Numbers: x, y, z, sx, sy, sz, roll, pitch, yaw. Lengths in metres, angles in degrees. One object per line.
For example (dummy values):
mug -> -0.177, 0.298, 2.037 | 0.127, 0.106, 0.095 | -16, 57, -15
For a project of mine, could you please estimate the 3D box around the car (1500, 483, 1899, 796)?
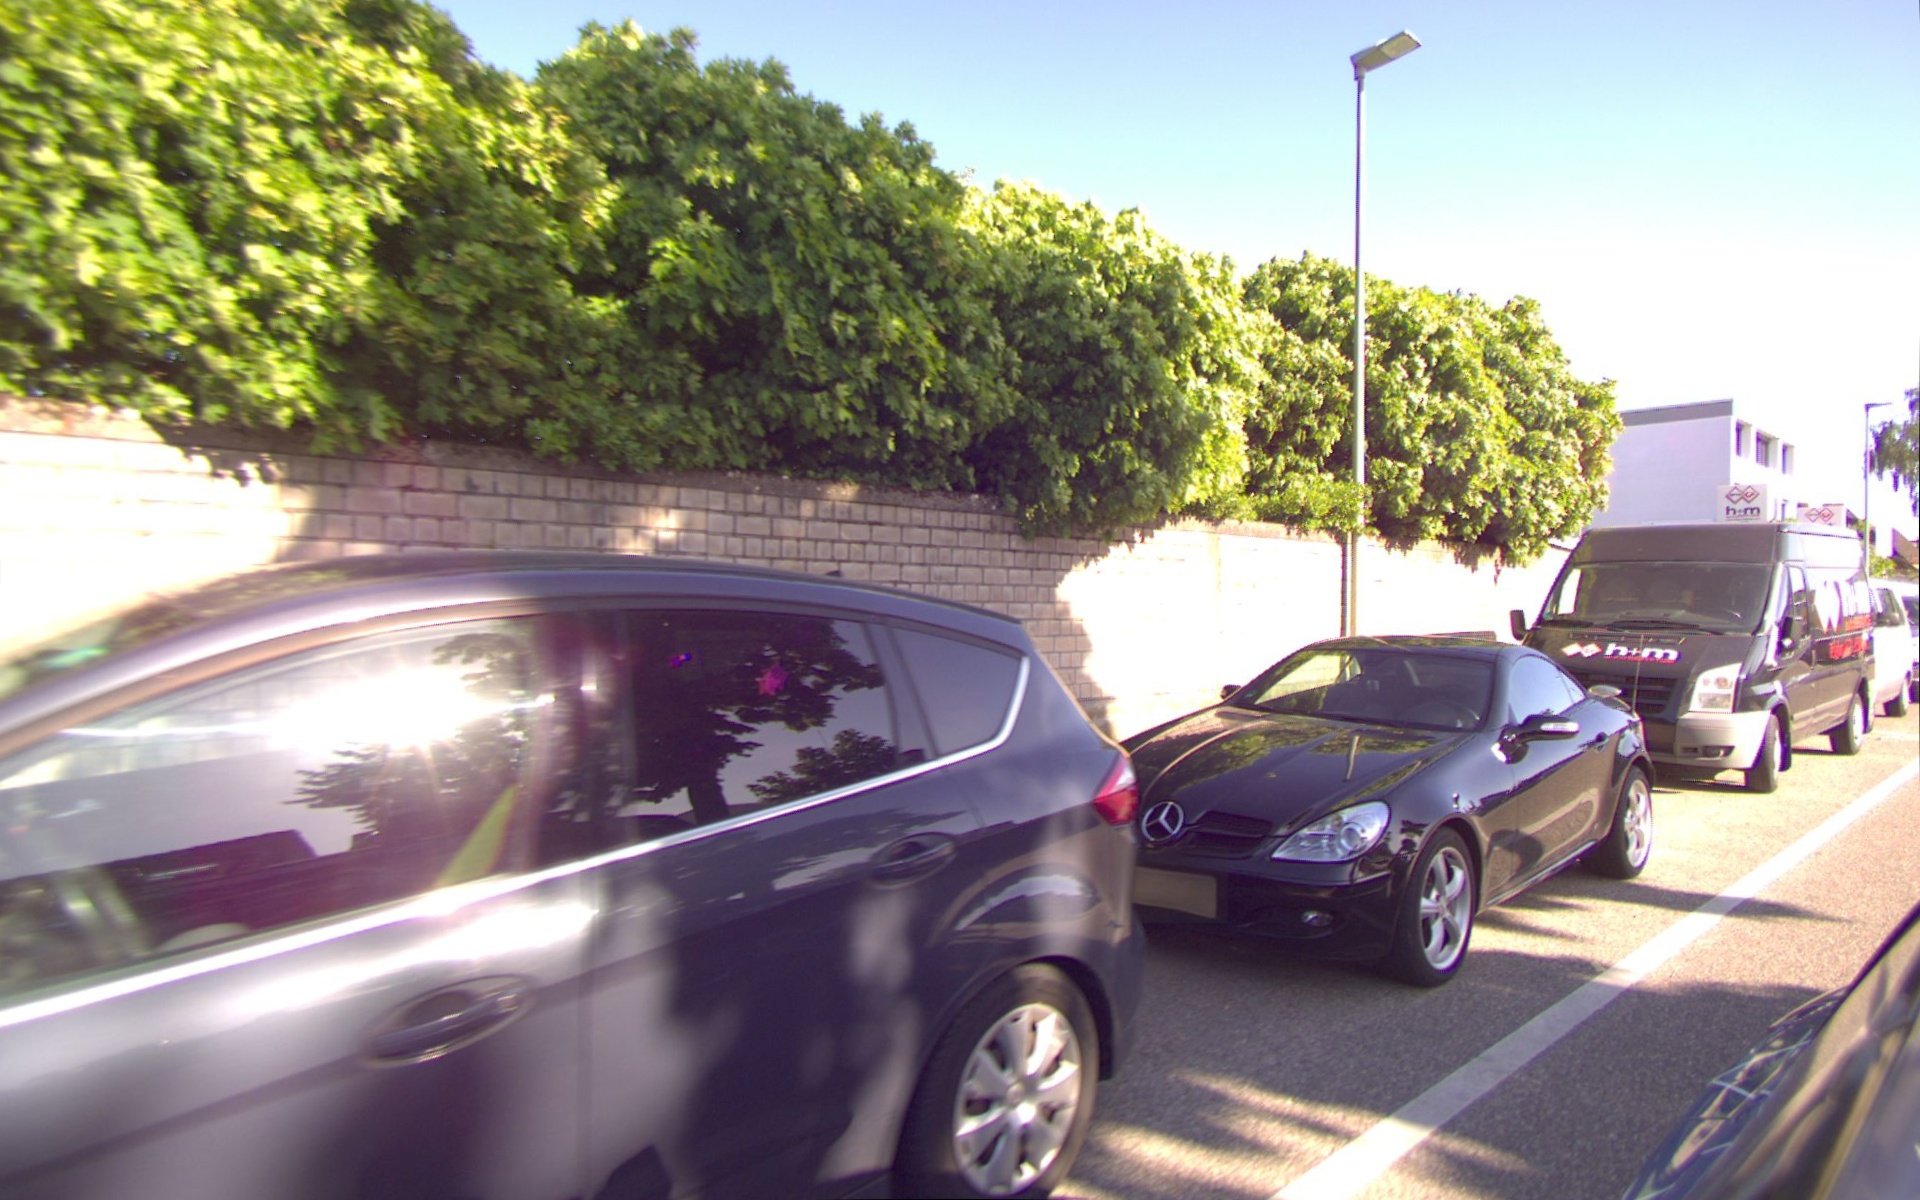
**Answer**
car -> 7.304, 0.280, 9.753 | 5.053, 2.288, 1.896 | 1, 1, -40

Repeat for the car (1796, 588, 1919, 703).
car -> 16.281, 0.694, 17.658 | 4.826, 1.766, 1.804 | 0, 0, -41

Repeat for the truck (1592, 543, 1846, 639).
truck -> 24.763, -0.338, 33.318 | 2.335, 2.852, 6.244 | 1, 1, -36

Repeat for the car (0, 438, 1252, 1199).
car -> -1.209, 0.629, 2.314 | 4.132, 1.634, 1.684 | 1, -1, -42

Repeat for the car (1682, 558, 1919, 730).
car -> 11.704, 0.483, 13.737 | 4.833, 1.950, 1.896 | 1, 1, -40

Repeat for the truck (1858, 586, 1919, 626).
truck -> 62.425, 0.417, 66.706 | 4.345, 2.496, 1.982 | 2, 1, 26

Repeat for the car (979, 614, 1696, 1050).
car -> 2.169, 0.777, 5.203 | 4.030, 1.335, 1.658 | 1, 1, -40
